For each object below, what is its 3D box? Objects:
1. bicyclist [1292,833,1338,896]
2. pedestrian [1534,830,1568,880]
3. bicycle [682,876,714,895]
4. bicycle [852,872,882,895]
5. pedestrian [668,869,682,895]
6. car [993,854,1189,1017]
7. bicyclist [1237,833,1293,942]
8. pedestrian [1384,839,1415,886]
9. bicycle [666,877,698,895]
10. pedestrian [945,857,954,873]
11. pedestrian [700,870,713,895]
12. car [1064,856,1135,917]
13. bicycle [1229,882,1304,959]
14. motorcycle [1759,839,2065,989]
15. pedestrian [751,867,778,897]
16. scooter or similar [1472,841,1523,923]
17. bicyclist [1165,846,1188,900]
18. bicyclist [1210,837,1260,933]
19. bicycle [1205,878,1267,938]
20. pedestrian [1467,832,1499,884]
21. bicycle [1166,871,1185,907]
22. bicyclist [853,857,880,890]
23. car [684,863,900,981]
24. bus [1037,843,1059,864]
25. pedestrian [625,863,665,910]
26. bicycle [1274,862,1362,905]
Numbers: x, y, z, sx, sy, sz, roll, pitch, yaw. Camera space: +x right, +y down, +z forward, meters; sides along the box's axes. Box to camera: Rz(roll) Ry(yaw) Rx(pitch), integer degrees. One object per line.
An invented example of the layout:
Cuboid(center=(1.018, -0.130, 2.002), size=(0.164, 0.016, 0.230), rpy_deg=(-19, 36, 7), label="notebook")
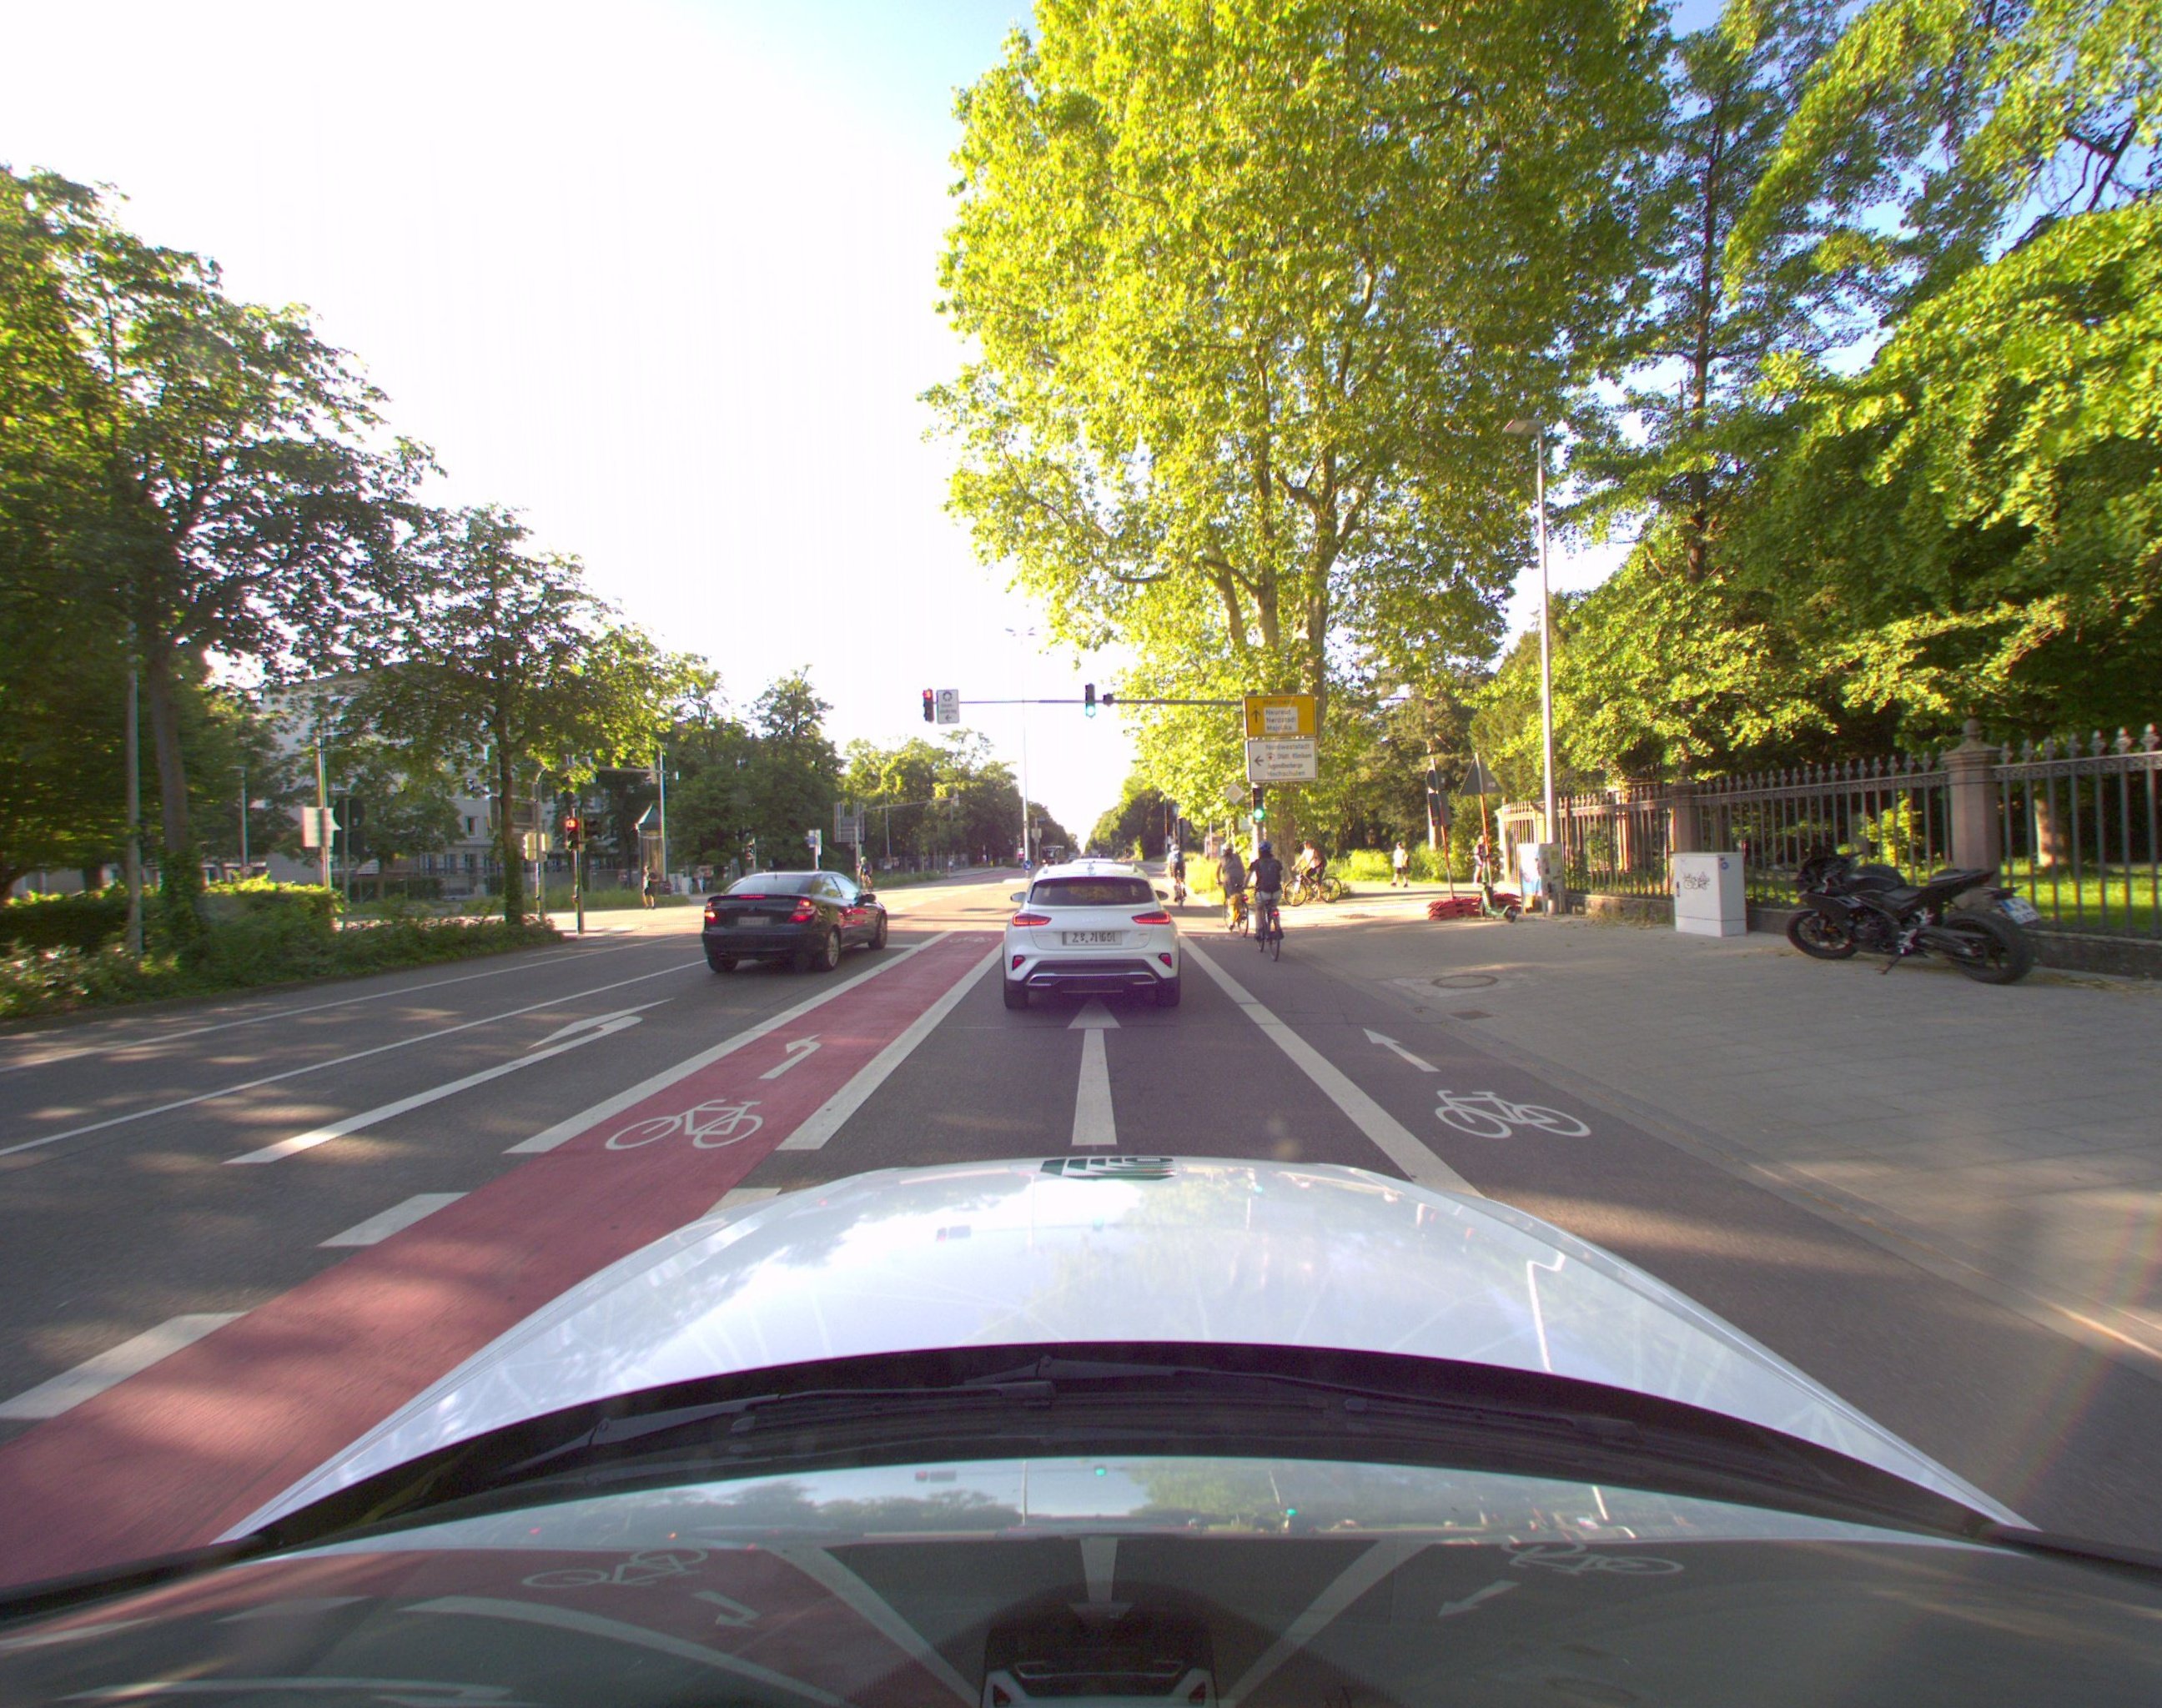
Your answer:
Cuboid(center=(6.197, 0.270, 21.611), size=(0.847, 1.613, 0.733), rpy_deg=(-3, 0, -11), label="bicyclist")
Cuboid(center=(16.245, 0.035, 28.154), size=(0.819, 1.681, 0.696), rpy_deg=(-2, -1, 15), label="pedestrian")
Cuboid(center=(-24.857, 2.055, 52.866), size=(1.859, 1.148, 0.290), rpy_deg=(-1, -1, -6), label="bicycle")
Cuboid(center=(-10.726, 1.459, 40.895), size=(0.660, 0.989, 2.507), rpy_deg=(-3, 0, 4), label="bicycle")
Cuboid(center=(-26.388, 1.810, 52.934), size=(0.628, 1.642, 0.444), rpy_deg=(-1, -1, -8), label="pedestrian")
Cuboid(center=(0.107, 0.772, 9.675), size=(1.815, 1.480, 3.936), rpy_deg=(-2, 0, 0), label="car")
Cuboid(center=(2.795, 0.496, 12.419), size=(0.663, 1.602, 0.721), rpy_deg=(-1, 0, 0), label="bicyclist")
Cuboid(center=(10.541, 0.278, 26.940), size=(0.810, 1.518, 0.922), rpy_deg=(-2, -1, 28), label="pedestrian")
Cuboid(center=(-26.056, 2.095, 53.199), size=(1.859, 1.148, 0.442), rpy_deg=(-1, -1, -6), label="bicycle")
Cuboid(center=(-14.706, 1.250, 91.212), size=(0.782, 1.785, 0.751), rpy_deg=(-1, -1, 2), label="pedestrian")
Cuboid(center=(-24.223, 1.853, 52.648), size=(0.628, 1.581, 0.444), rpy_deg=(-1, -1, -8), label="pedestrian")
Cuboid(center=(0.479, 0.838, 22.547), size=(1.723, 1.483, 3.516), rpy_deg=(-3, 0, 0), label="car")
Cuboid(center=(2.802, 0.970, 12.507), size=(0.666, 1.009, 2.081), rpy_deg=(-1, 0, 0), label="bicycle")
Cuboid(center=(7.369, 0.479, 7.422), size=(0.504, 1.131, 2.170), rpy_deg=(-4, -1, 0), label="motorcycle")
Cuboid(center=(-17.698, 1.567, 45.558), size=(1.086, 1.603, 0.999), rpy_deg=(-3, 0, -5), label="pedestrian")
Cuboid(center=(7.130, 0.458, 13.981), size=(0.227, 1.327, 1.172), rpy_deg=(-3, 0, 0), label="scooter or similar")
Cuboid(center=(2.700, 0.537, 23.142), size=(0.552, 1.478, 0.717), rpy_deg=(-1, -1, 1), label="bicyclist")
Cuboid(center=(2.988, 0.581, 15.894), size=(0.750, 1.796, 1.165), rpy_deg=(0, 0, 0), label="bicyclist")
Cuboid(center=(2.989, 1.012, 15.984), size=(0.755, 1.013, 2.569), rpy_deg=(0, 0, 0), label="bicycle")
Cuboid(center=(13.217, 0.132, 26.794), size=(0.686, 1.699, 0.644), rpy_deg=(-1, -1, 1), label="pedestrian")
Cuboid(center=(2.679, 0.972, 23.193), size=(0.400, 0.956, 1.551), rpy_deg=(-1, -1, 1), label="bicycle")
Cuboid(center=(-10.757, 0.962, 40.876), size=(0.871, 1.608, 1.189), rpy_deg=(-3, 0, 3), label="bicyclist")
Cuboid(center=(-4.265, 0.917, 12.810), size=(1.698, 1.405, 4.266), rpy_deg=(-3, 0, 2), label="car")
Cuboid(center=(-6.201, -0.119, 154.554), size=(3.730, 3.673, 13.234), rpy_deg=(-3, 0, -1), label="bus")
Cuboid(center=(-18.952, 1.402, 35.451), size=(0.990, 2.014, 1.193), rpy_deg=(-1, -1, 7), label="pedestrian")
Cuboid(center=(6.277, 0.773, 21.617), size=(2.094, 0.976, 0.747), rpy_deg=(-3, 0, -11), label="bicycle")
